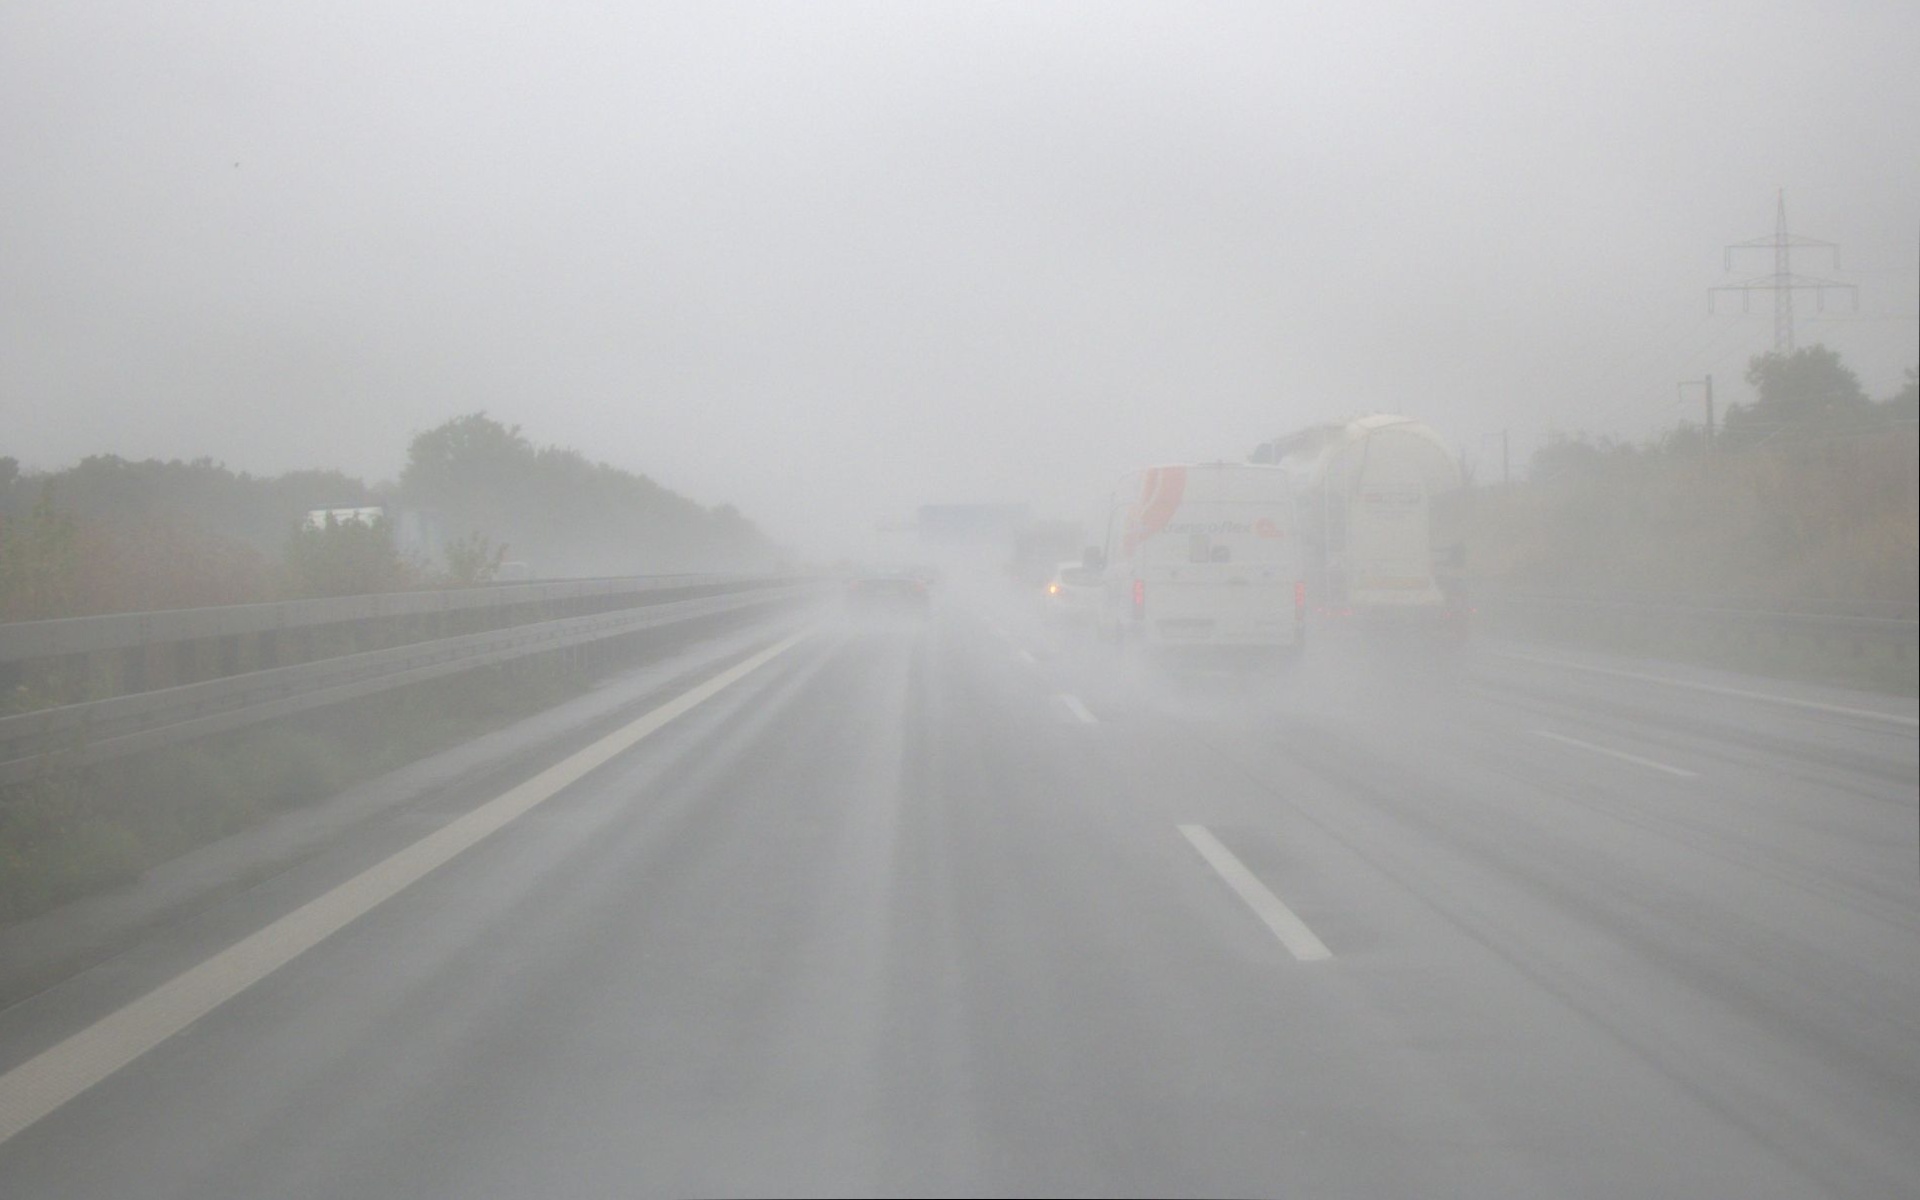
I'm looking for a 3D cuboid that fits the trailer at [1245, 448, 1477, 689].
[{"bbox_3d":[6.961,-0.569,61.294,2.497,3.869,11.067,1,1,-2],"label":"trailer"}]

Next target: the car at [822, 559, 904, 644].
[{"bbox_3d":[-2.119,0.004,76.143,1.702,1.812,3.862,1,1,0],"label":"car"}]

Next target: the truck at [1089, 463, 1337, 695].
[{"bbox_3d":[2.848,-0.250,40.089,2.419,2.484,5.560,1,1,0],"label":"truck"}]

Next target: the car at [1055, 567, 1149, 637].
[{"bbox_3d":[2.793,0.025,68.106,1.605,1.333,3.848,1,1,-1],"label":"car"}]

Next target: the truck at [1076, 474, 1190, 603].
[{"bbox_3d":[6.558,-2.217,132.988,3.039,4.572,16.351,1,0,-2],"label":"truck"}]

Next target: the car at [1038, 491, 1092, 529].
[{"bbox_3d":[5.889,-5.053,193.513,2.788,2.007,4.993,1,1,-1],"label":"car"}]
